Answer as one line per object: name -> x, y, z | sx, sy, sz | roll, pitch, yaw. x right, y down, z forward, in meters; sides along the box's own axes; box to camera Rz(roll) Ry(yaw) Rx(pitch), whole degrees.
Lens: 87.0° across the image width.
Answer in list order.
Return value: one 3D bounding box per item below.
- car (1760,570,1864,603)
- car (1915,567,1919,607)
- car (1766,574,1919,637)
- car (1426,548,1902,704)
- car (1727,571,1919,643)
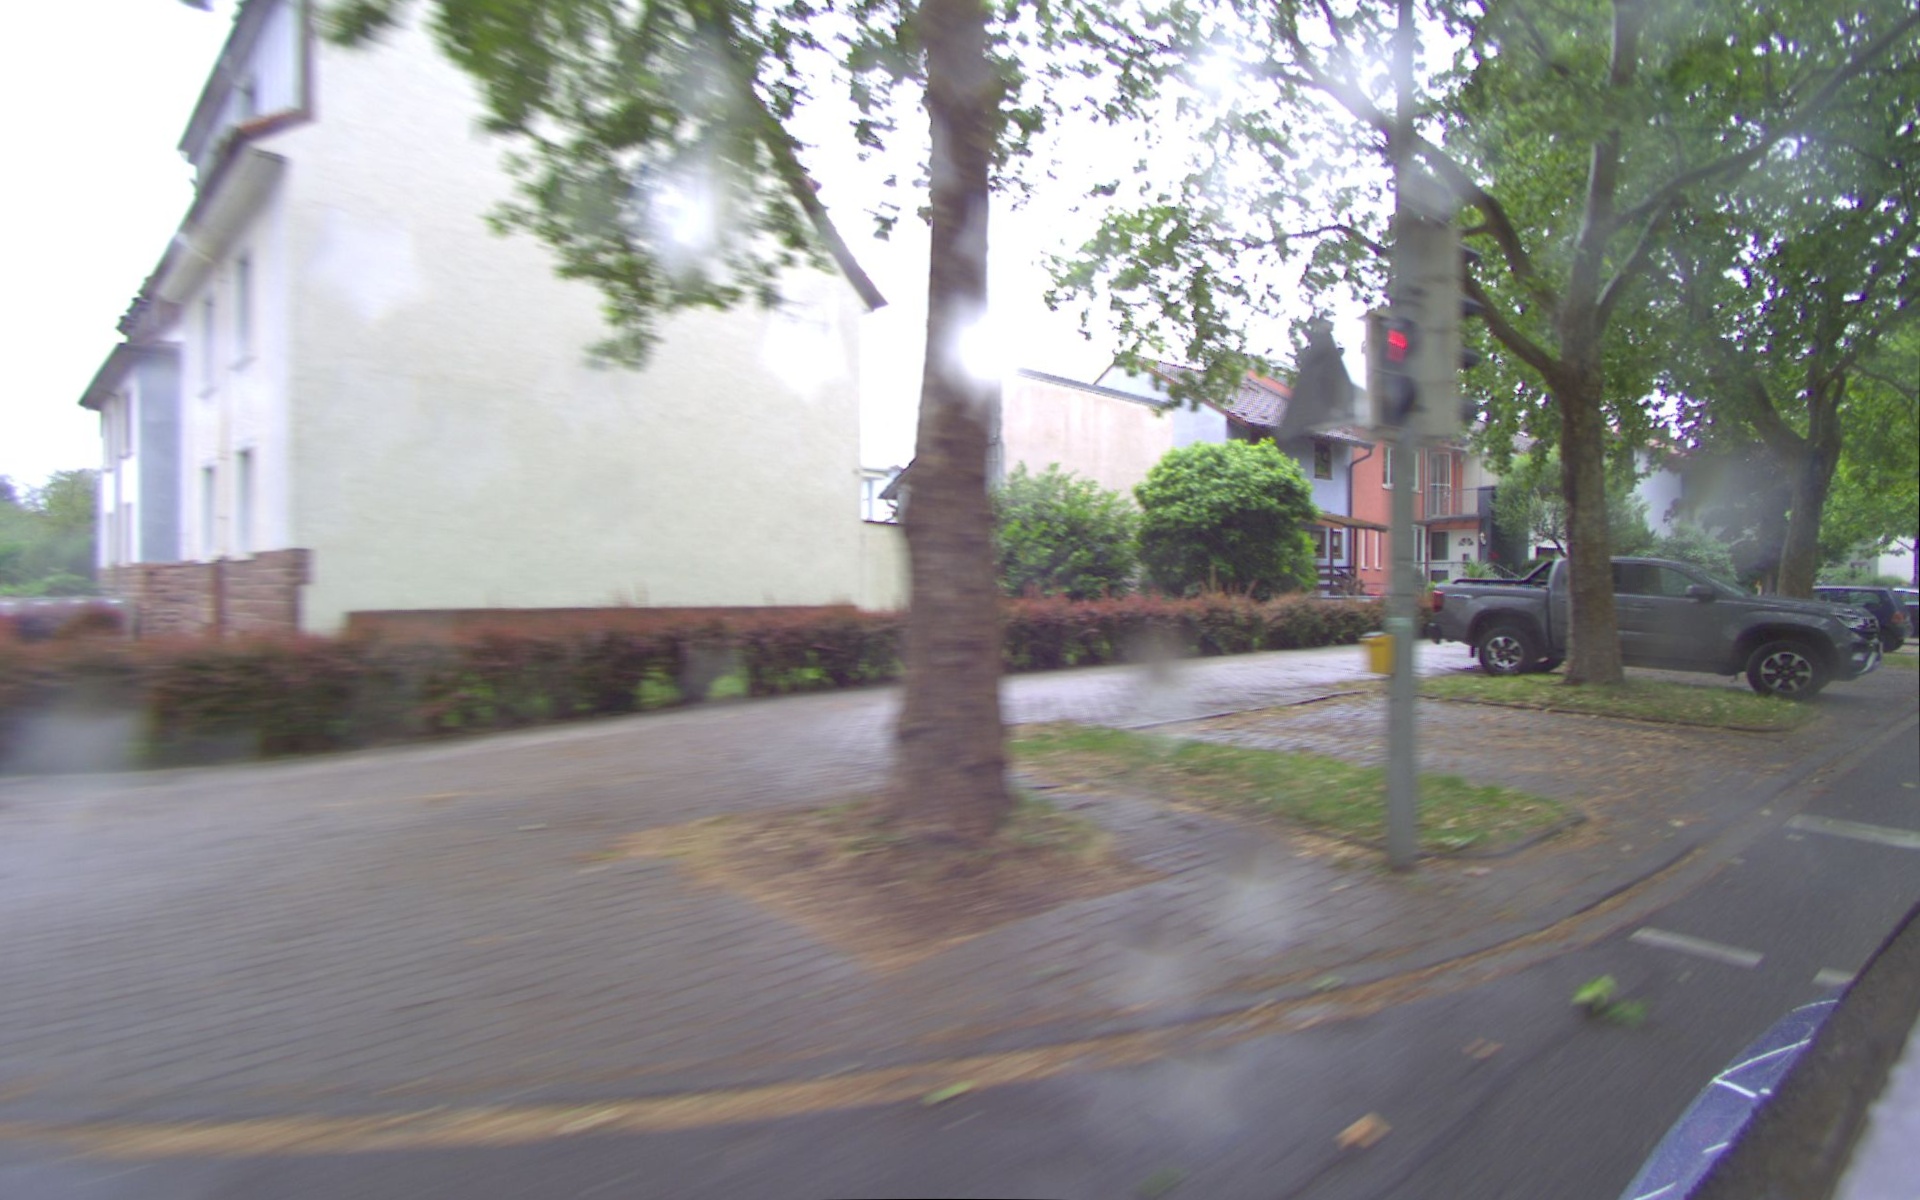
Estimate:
car -> 45.023, -0.757, 53.534 | 1.808, 1.633, 3.856 | 0, 2, -37
car -> 42.166, -0.472, 41.085 | 1.941, 1.681, 4.699 | 0, 2, -40
car -> 23.918, 0.137, 25.989 | 1.905, 1.491, 4.773 | 0, 2, -42
car -> 9.787, 0.197, 14.510 | 1.815, 1.829, 5.343 | -1, 3, -44
car -> 19.786, 0.109, 23.073 | 1.590, 1.482, 3.363 | 0, 2, -39
